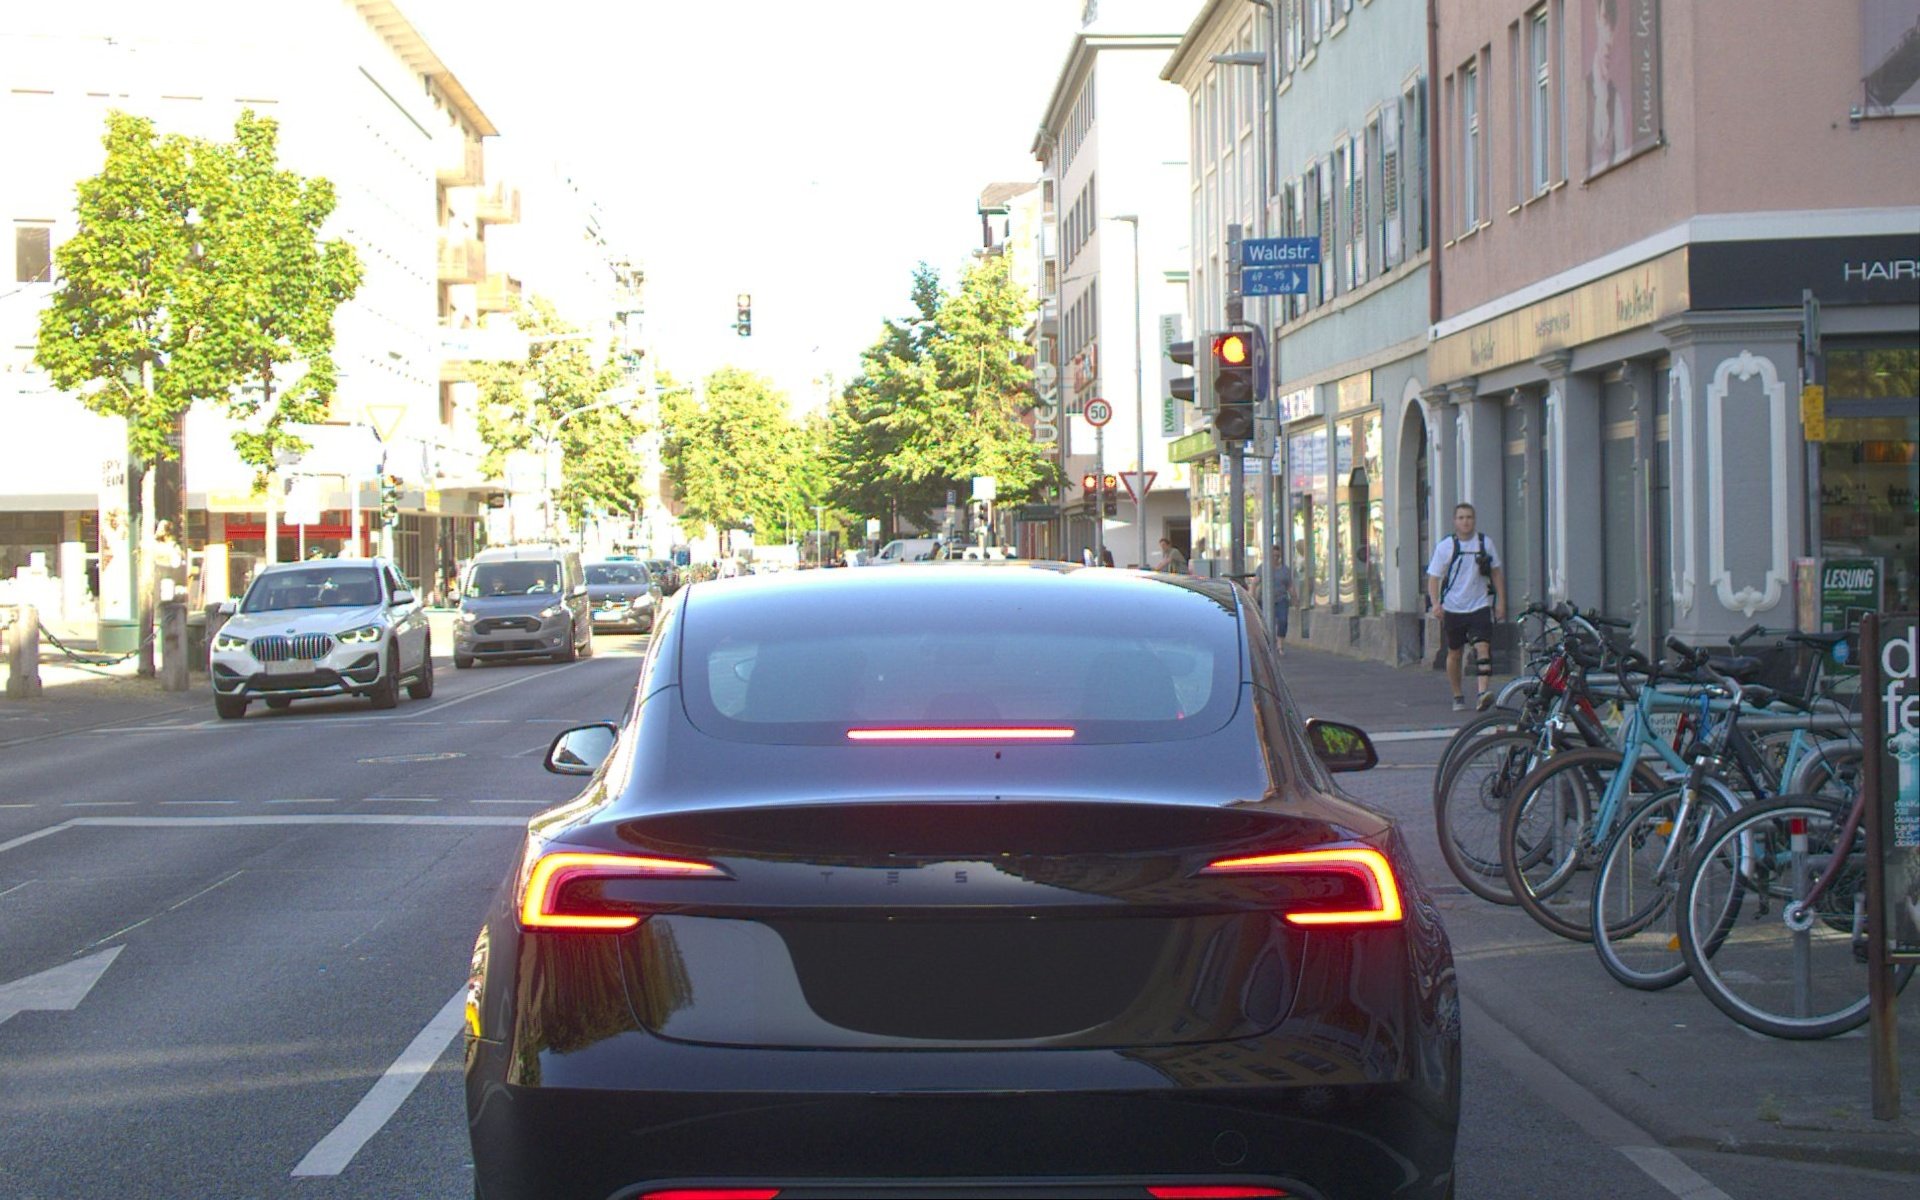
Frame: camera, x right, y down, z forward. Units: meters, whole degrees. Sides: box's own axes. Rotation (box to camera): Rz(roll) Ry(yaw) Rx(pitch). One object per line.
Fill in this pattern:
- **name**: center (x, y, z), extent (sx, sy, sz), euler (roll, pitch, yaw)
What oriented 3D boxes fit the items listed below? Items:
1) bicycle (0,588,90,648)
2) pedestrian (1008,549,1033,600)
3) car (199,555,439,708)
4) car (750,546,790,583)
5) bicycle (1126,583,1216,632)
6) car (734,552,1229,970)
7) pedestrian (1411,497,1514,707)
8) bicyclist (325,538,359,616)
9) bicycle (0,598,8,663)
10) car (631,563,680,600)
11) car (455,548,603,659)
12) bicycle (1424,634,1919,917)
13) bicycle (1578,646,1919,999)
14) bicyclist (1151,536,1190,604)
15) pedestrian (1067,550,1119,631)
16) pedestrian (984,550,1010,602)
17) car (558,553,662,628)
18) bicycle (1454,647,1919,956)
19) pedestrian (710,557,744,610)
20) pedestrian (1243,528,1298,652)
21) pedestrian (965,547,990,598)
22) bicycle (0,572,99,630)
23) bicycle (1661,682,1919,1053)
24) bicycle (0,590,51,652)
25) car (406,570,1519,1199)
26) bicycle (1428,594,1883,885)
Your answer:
- **bicycle**: center (-14.833, 0.287, 54.603), extent (1.864, 0.931, 0.606), euler (0, 1, -1)
- **pedestrian**: center (1.692, -0.702, 95.808), extent (0.521, 1.417, 0.479), euler (1, 0, -30)
- **car**: center (-6.667, 0.291, 36.130), extent (1.789, 1.455, 3.757), euler (-2, 1, 0)
- **car**: center (-10.336, -1.943, 187.136), extent (1.993, 2.007, 4.000), euler (0, 1, -1)
- **bicycle**: center (4.382, 0.154, 71.309), extent (1.784, 1.003, 0.472), euler (1, 0, -16)
- **car**: center (0.008, 0.534, 13.816), extent (1.718, 1.420, 3.758), euler (0, 1, -2)
- **pedestrian**: center (4.324, 0.016, 29.633), extent (0.750, 1.759, 0.836), euler (-2, 0, 4)
- **bicyclist**: center (-11.876, -0.446, 66.061), extent (0.522, 1.498, 0.476), euler (1, 0, -24)
- **bicycle**: center (-14.813, 0.434, 49.791), extent (1.864, 0.931, 0.606), euler (1, 0, -1)
- **car**: center (-12.911, -0.787, 146.101), extent (1.706, 1.546, 3.697), euler (0, 1, 1)
- **car**: center (-6.594, 0.014, 53.005), extent (1.787, 1.640, 4.403), euler (0, 1, -1)
- **bicycle**: center (2.811, 0.688, 13.622), extent (1.873, 1.034, 0.547), euler (-2, 0, 5)
- **bicycle**: center (2.990, 0.702, 11.145), extent (1.873, 1.084, 0.414), euler (-2, 0, 4)
- **bicyclist**: center (4.356, -0.628, 71.290), extent (0.669, 1.390, 0.462), euler (1, 0, -16)
- **pedestrian**: center (2.684, -0.197, 69.513), extent (0.754, 1.626, 0.956), euler (1, 0, -18)
- **pedestrian**: center (1.032, -0.660, 94.854), extent (0.521, 1.417, 0.479), euler (1, 0, -30)
- **car**: center (-6.958, -0.202, 68.623), extent (1.715, 1.441, 3.845), euler (1, 1, -1)
- **bicycle**: center (2.775, 0.719, 12.465), extent (1.873, 1.034, 0.533), euler (-2, 0, 4)
- **pedestrian**: center (-7.486, -0.535, 110.375), extent (0.849, 1.689, 0.717), euler (0, 1, 29)
- **pedestrian**: center (4.358, -0.140, 48.259), extent (0.706, 1.736, 0.540), euler (0, 1, -1)
- **pedestrian**: center (0.477, -0.774, 95.641), extent (0.472, 1.412, 0.522), euler (1, 0, -31)
- **bicycle**: center (-20.773, 0.017, 77.906), extent (2.361, 1.291, 0.513), euler (1, 0, -26)
- **bicycle**: center (3.020, 0.754, 9.980), extent (1.873, 1.034, 0.353), euler (-2, 0, 6)
- **bicycle**: center (-14.805, 0.312, 52.155), extent (1.864, 0.931, 0.606), euler (0, 1, -1)
- **car**: center (-0.018, 0.656, 7.633), extent (1.822, 1.437, 4.000), euler (0, 1, -1)
- **bicycle**: center (2.961, 0.591, 14.741), extent (1.828, 1.165, 0.505), euler (-2, 0, 5)
